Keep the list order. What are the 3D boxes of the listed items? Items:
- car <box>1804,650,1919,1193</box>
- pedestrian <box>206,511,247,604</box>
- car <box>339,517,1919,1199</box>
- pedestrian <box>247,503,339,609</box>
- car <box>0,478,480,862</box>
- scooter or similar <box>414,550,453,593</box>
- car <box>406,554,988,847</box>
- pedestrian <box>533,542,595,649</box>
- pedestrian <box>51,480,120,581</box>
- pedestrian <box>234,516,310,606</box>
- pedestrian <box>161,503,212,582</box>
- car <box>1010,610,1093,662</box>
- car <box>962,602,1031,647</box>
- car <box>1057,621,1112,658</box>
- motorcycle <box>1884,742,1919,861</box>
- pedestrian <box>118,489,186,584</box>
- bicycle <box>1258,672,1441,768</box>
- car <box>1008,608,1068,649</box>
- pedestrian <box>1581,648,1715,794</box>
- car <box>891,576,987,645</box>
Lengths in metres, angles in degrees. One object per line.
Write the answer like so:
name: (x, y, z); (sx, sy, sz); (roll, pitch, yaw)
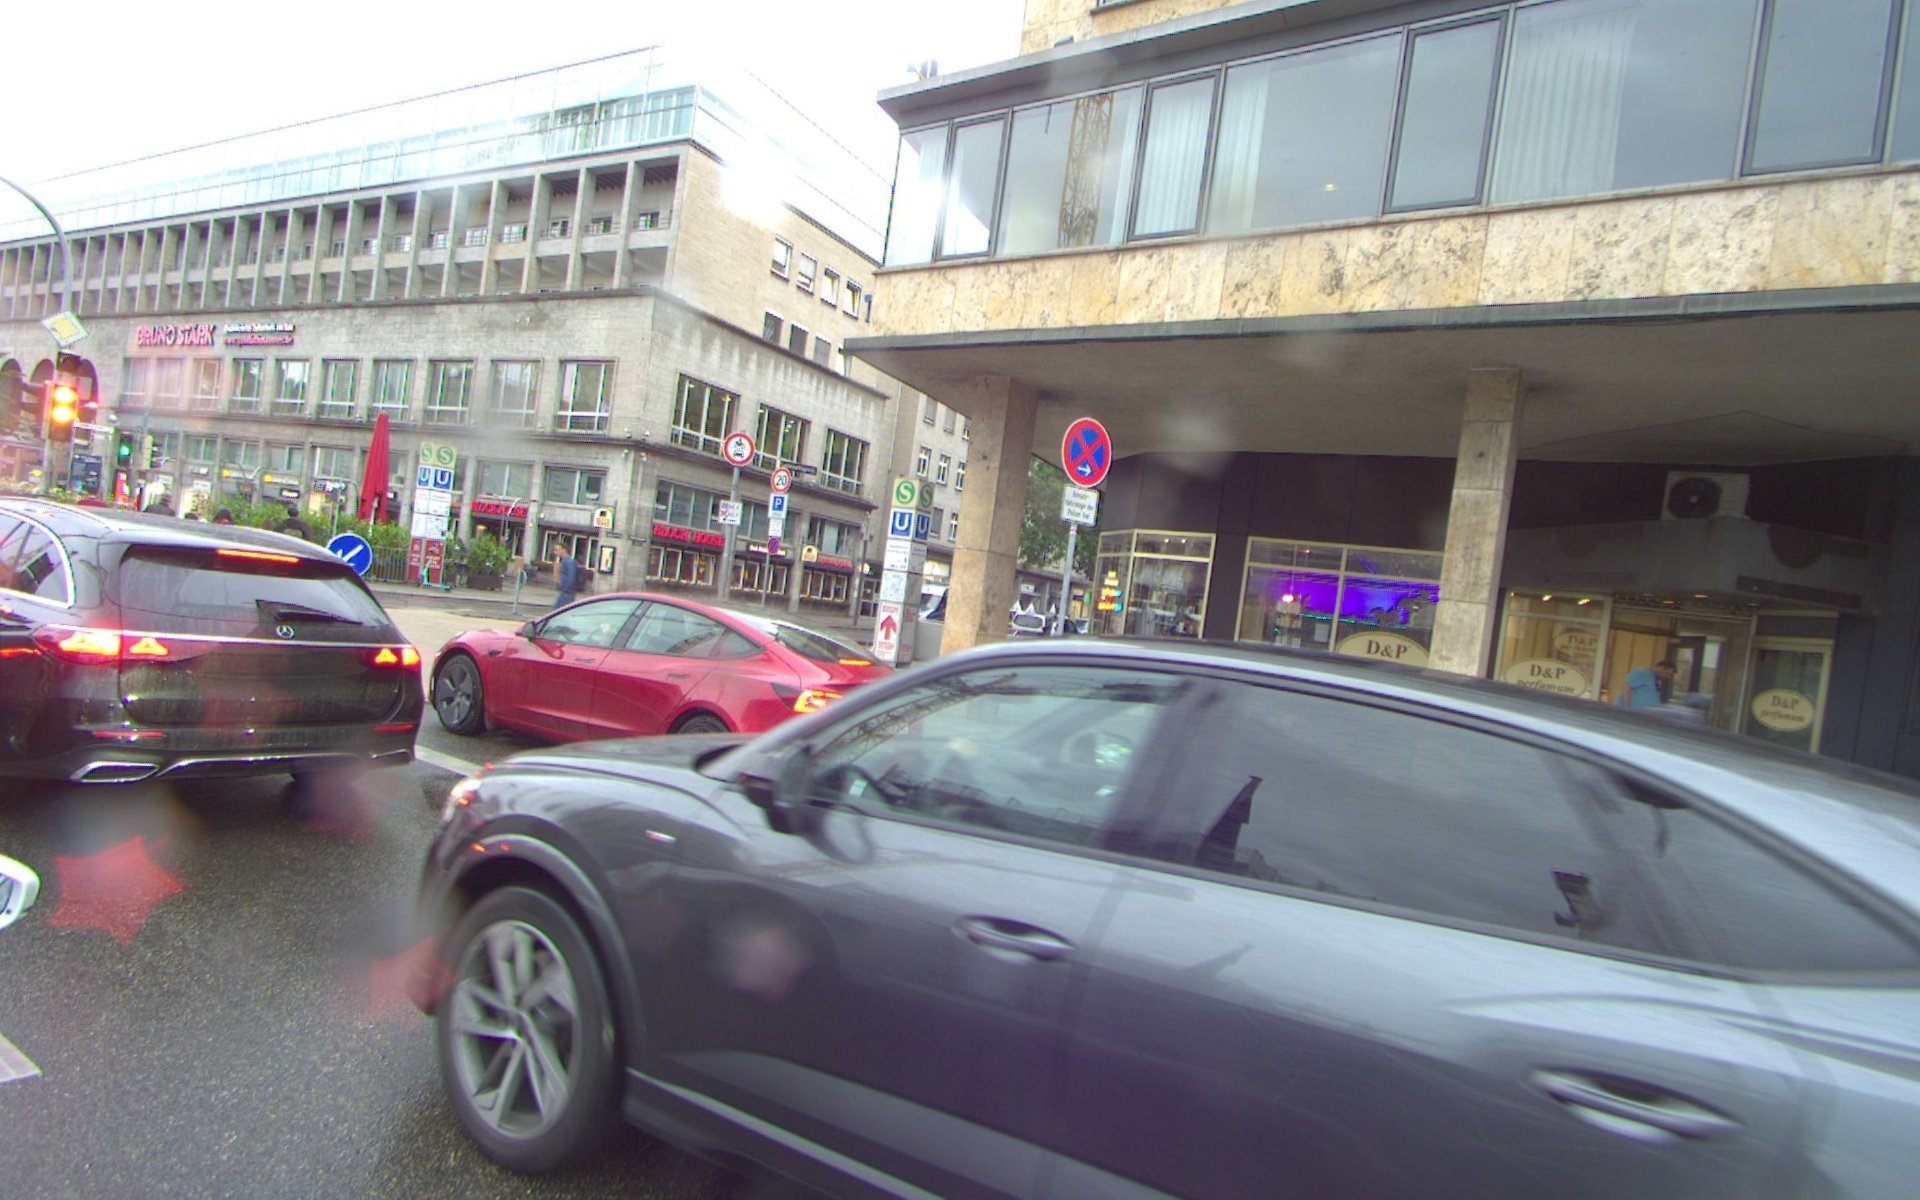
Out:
car: (5.960, 1.418, 3.004); (4.853, 1.942, 1.878); (6, -2, 31)
pedestrian: (-14.609, -0.846, 20.053); (0.477, 1.774, 0.661); (5, 2, -30)
car: (0.546, 0.804, 2.631); (4.271, 1.519, 1.882); (6, -2, 32)
pedestrian: (-12.023, -0.779, 18.150); (0.642, 1.774, 1.097); (7, 2, 29)
car: (-5.147, 0.162, 5.950); (4.550, 1.519, 1.797); (6, -2, 30)
scooter or similar: (-16.374, -0.875, 31.264); (1.000, 1.203, 0.291); (7, -1, 13)
car: (-2.232, 0.659, 8.158); (4.451, 1.503, 1.878); (6, -2, 31)
pedestrian: (-7.018, -0.072, 17.844); (0.768, 1.777, 0.503); (8, -1, -15)
pedestrian: (-16.419, -1.292, 18.903); (0.561, 1.772, 0.678); (7, -1, -15)
pedestrian: (-13.875, -0.776, 20.293); (0.884, 1.645, 0.795); (7, -1, 28)
pedestrian: (-15.152, -1.118, 19.716); (0.627, 1.444, 0.485); (8, -1, -36)
car: (4.322, 1.721, 46.802); (1.966, 1.995, 4.638); (7, -1, 29)
car: (2.161, 1.445, 58.414); (1.966, 2.065, 4.557); (7, -2, 29)
car: (8.768, 2.787, 70.273); (1.966, 2.065, 4.833); (7, -2, 29)
motorcycle: (11.136, 2.273, 10.488); (2.074, 1.232, 0.567); (6, -2, 40)
pedestrian: (-15.916, -1.245, 19.827); (0.458, 1.737, 0.757); (7, -1, 28)
bicycle: (5.909, 1.802, 15.351); (2.431, 1.058, 0.657); (6, -1, 32)
car: (4.971, 1.812, 63.571); (1.966, 2.065, 4.483); (7, -2, 29)
pedestrian: (9.398, 1.620, 13.785); (0.788, 1.811, 1.134); (7, -1, -10)
car: (-0.958, 0.590, 51.178); (1.965, 2.792, 6.187); (7, -2, 26)
